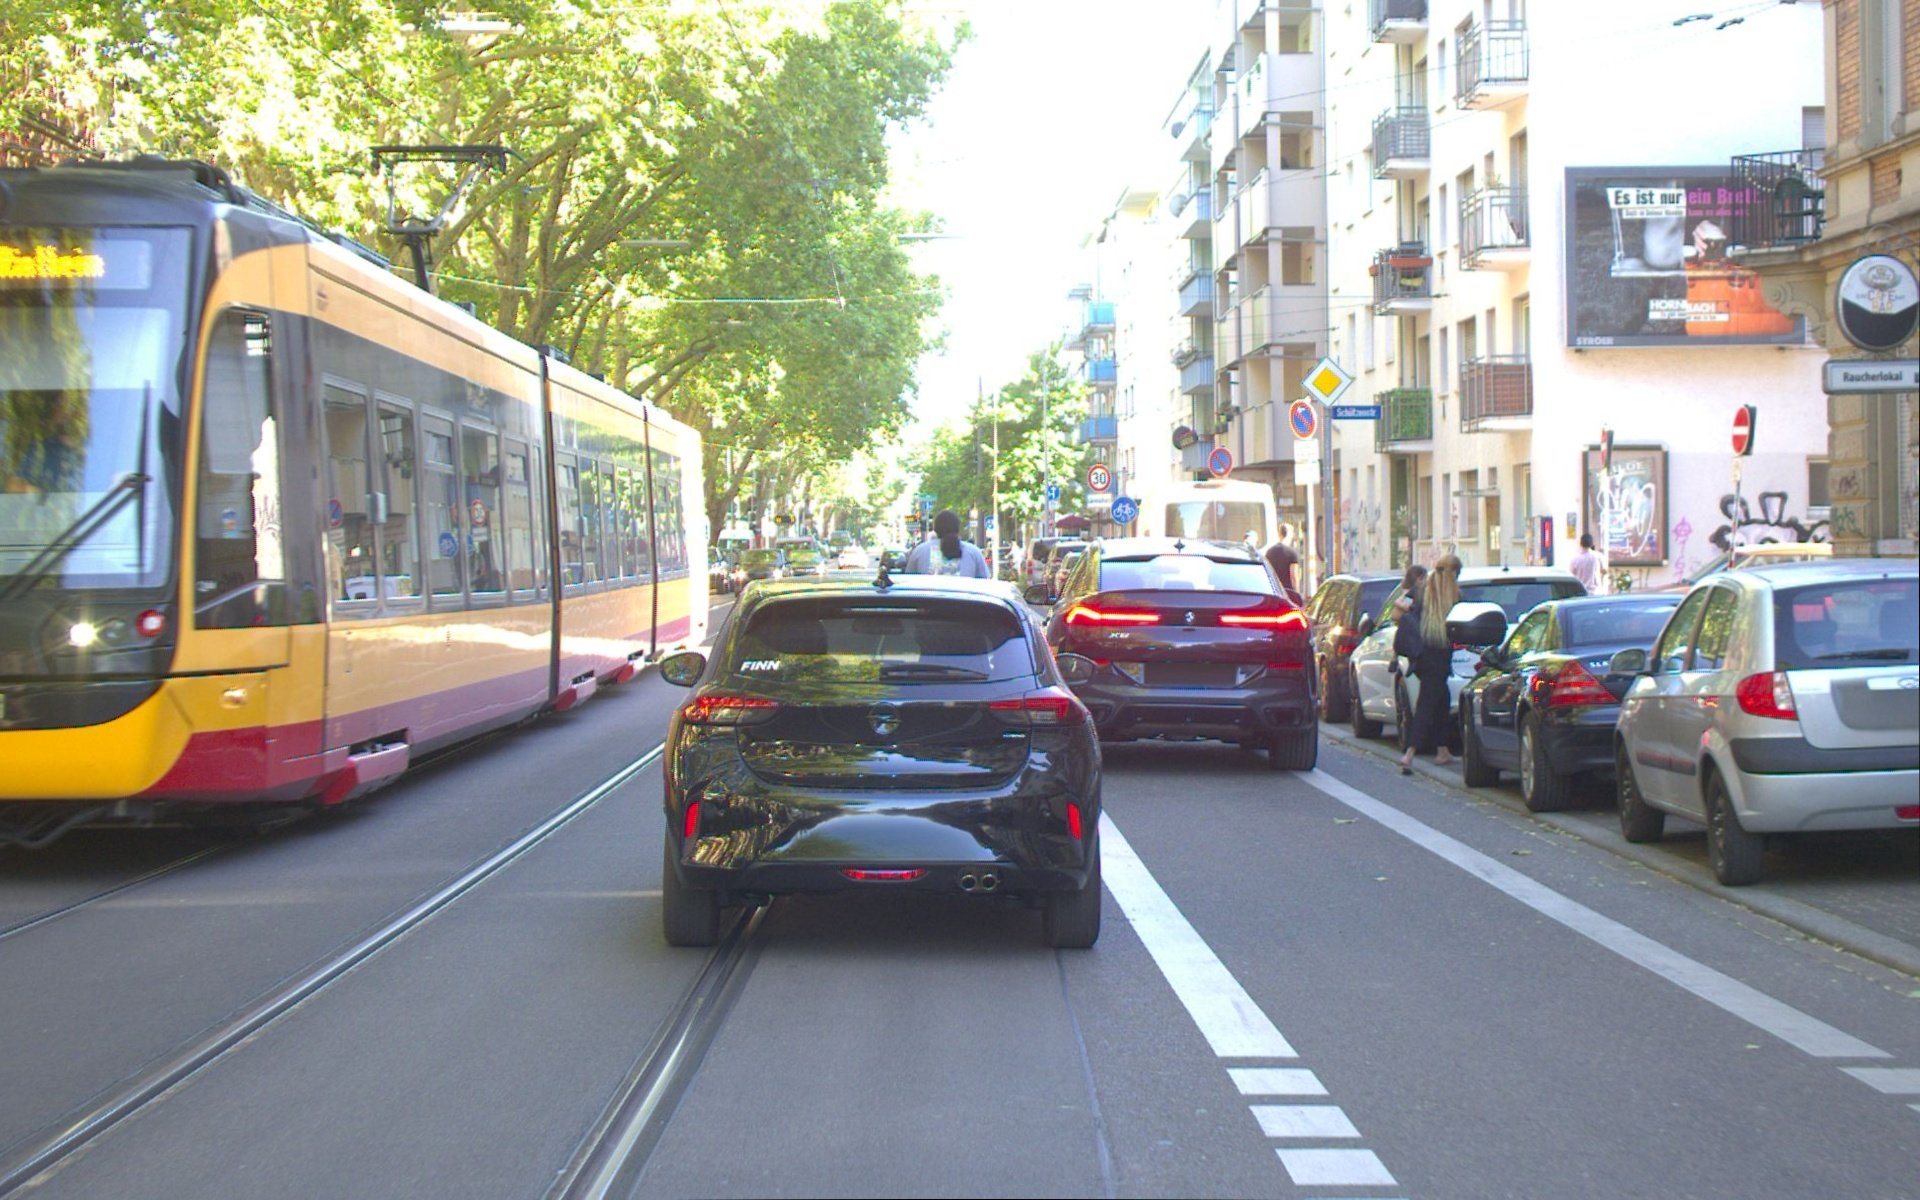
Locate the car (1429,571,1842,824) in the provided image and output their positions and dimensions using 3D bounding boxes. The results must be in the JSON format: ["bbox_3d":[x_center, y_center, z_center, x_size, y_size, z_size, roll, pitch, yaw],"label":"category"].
[{"bbox_3d":[4.182,0.550,21.883,1.810,1.333,3.933,-4,1,1],"label":"car"}]

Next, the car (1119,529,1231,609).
[{"bbox_3d":[3.967,-0.586,63.926,1.810,1.333,3.933,-4,1,1],"label":"car"}]

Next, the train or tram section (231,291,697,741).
[{"bbox_3d":[-4.589,-0.776,34.789,2.735,3.669,12.716,-1,1,0],"label":"train or tram section"}]

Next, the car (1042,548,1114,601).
[{"bbox_3d":[3.263,-0.726,95.486,1.810,1.333,3.933,-4,1,1],"label":"car"}]

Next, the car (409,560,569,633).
[{"bbox_3d":[-12.088,-0.098,88.327,3.919,1.784,1.677,1,0,-3],"label":"car"}]

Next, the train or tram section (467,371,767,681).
[{"bbox_3d":[-4.463,-0.970,47.527,2.735,3.669,12.716,-1,1,0],"label":"train or tram section"}]

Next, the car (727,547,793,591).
[{"bbox_3d":[-6.255,-0.973,107.693,1.810,1.334,3.933,0,1,1],"label":"car"}]

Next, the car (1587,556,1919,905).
[{"bbox_3d":[4.289,0.560,17.199,1.705,1.451,3.697,-4,1,3],"label":"car"}]

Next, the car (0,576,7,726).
[{"bbox_3d":[-11.465,0.470,33.465,3.919,1.493,1.677,1,0,-3],"label":"car"}]

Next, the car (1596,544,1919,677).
[{"bbox_3d":[11.177,0.136,47.566,4.377,1.792,1.876,0,1,-1],"label":"car"}]

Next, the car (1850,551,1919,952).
[{"bbox_3d":[4.431,0.543,12.145,1.567,1.512,3.041,-4,1,-3],"label":"car"}]

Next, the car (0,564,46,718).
[{"bbox_3d":[-11.742,0.371,35.994,3.919,1.572,1.677,1,0,-3],"label":"car"}]

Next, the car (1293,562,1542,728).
[{"bbox_3d":[4.307,0.386,32.891,1.810,1.375,3.933,-4,1,1],"label":"car"}]

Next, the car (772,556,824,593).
[{"bbox_3d":[-6.523,-1.043,138.641,1.810,1.333,3.933,-4,1,1],"label":"car"}]

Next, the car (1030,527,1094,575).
[{"bbox_3d":[3.112,-1.506,105.186,1.810,1.333,3.933,-4,1,1],"label":"car"}]

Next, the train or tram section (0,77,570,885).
[{"bbox_3d":[-4.662,-0.610,22.048,2.735,3.669,12.716,-1,1,0],"label":"train or tram section"}]

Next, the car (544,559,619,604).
[{"bbox_3d":[-11.527,-0.567,104.933,1.810,1.334,3.933,0,1,1],"label":"car"}]

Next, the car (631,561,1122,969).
[{"bbox_3d":[-0.335,0.587,14.359,1.794,1.436,3.531,0,1,-1],"label":"car"}]

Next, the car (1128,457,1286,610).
[{"bbox_3d":[3.876,-1.042,54.780,2.075,2.211,4.933,-4,1,1],"label":"car"}]

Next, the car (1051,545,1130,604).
[{"bbox_3d":[3.292,-0.660,87.288,1.810,1.333,3.933,-4,1,1],"label":"car"}]

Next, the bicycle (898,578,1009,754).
[{"bbox_3d":[-0.074,0.526,29.044,0.860,1.402,2.524,0,1,-2],"label":"bicycle"}]

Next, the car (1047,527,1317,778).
[{"bbox_3d":[1.594,0.343,25.906,1.810,1.736,3.933,0,1,1],"label":"car"}]

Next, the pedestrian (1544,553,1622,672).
[{"bbox_3d":[8.271,0.163,45.658,0.866,1.561,0.768,0,1,-2],"label":"pedestrian"}]

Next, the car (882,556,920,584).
[{"bbox_3d":[-2.838,-1.464,165.580,1.810,1.334,3.933,0,1,0],"label":"car"}]

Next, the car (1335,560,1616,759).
[{"bbox_3d":[4.147,0.433,28.193,1.661,1.415,3.933,-4,1,1],"label":"car"}]

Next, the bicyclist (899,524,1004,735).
[{"bbox_3d":[-0.079,0.234,28.897,0.848,1.734,1.162,0,1,-2],"label":"bicyclist"}]

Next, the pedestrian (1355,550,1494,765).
[{"bbox_3d":[3.443,0.410,25.437,0.867,1.561,0.767,0,1,20],"label":"pedestrian"}]
